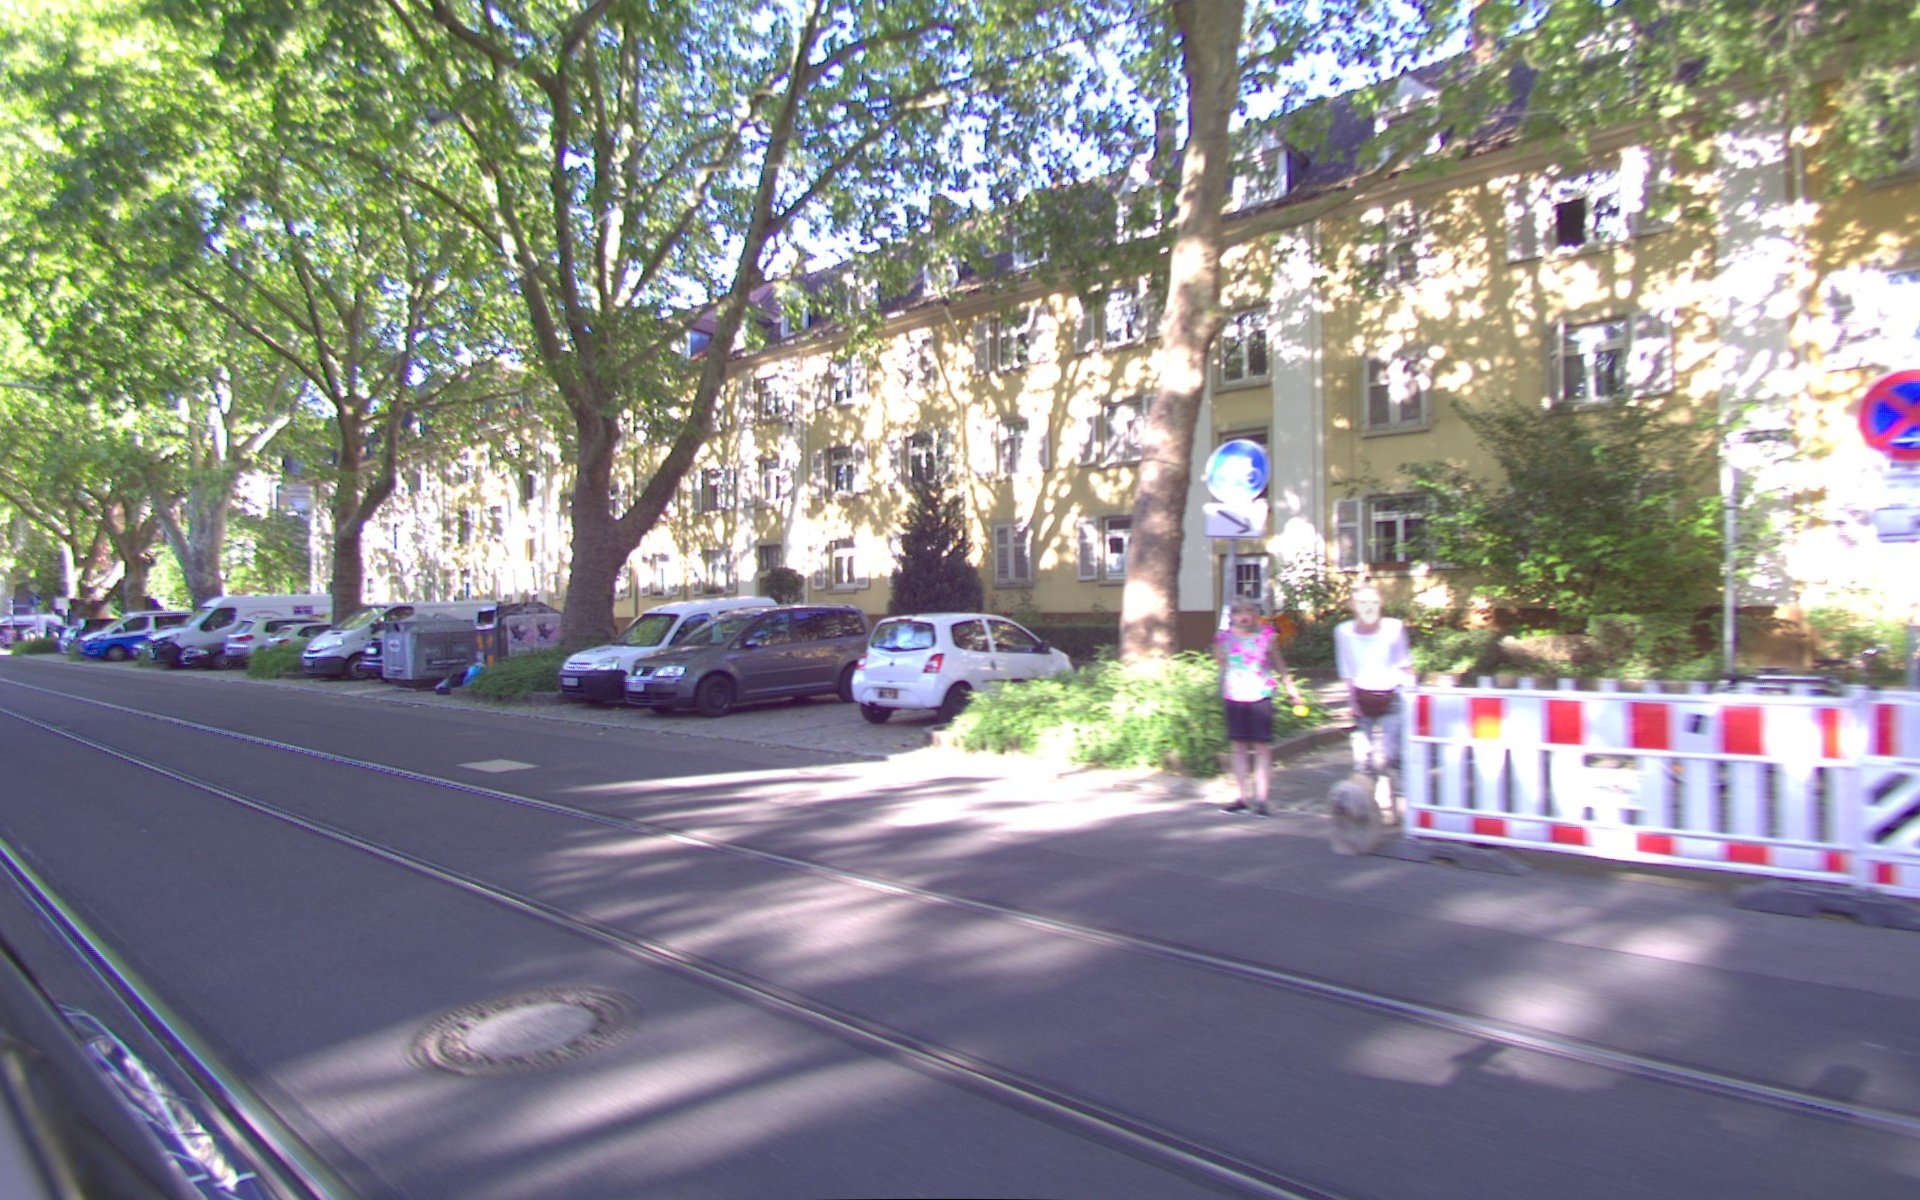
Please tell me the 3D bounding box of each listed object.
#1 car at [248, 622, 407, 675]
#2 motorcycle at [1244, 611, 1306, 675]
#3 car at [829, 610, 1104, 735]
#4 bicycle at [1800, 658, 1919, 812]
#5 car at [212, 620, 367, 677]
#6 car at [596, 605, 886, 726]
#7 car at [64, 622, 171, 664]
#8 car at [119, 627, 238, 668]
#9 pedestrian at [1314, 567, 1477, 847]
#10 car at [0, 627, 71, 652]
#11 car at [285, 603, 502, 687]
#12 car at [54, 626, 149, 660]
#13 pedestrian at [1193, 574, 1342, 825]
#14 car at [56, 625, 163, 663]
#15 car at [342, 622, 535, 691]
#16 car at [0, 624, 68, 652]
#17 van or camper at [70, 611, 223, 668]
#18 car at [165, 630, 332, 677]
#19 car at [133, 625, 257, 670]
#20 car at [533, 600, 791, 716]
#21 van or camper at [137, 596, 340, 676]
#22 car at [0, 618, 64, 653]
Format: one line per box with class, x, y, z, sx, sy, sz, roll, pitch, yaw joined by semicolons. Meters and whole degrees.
car;-19.413;1.451;31.167;1.861;1.509;3.807;-2;-2;41
motorcycle;6.476;0.862;20.772;0.522;1.250;1.691;-2;-1;42
car;0.201;0.911;14.304;1.861;1.509;3.807;-2;-2;41
bicycle;7.076;0.986;7.902;0.725;0.970;1.951;-2;-1;41
car;-21.395;1.510;32.396;1.861;1.675;3.807;-2;-2;41
car;-3.445;0.949;16.338;4.184;1.701;1.935;0;-2;-43
car;-39.619;1.990;47.646;1.703;1.828;3.645;-2;-1;40
car;-31.746;1.897;41.172;1.692;1.471;3.501;-2;0;34
pedestrian;2.993;0.671;6.943;0.796;1.758;0.813;-1;0;41
car;-62.685;2.666;68.070;1.923;1.527;4.119;-3;-1;39
car;-14.831;1.114;26.744;1.959;1.960;4.614;-2;-1;37
car;-44.549;2.210;52.552;3.639;1.565;1.705;-1;-1;-44
pedestrian;2.336;0.696;7.680;0.796;1.758;0.813;-1;0;41
car;-41.346;2.117;49.237;1.796;1.636;3.650;-2;0;35
car;-12.727;1.327;24.856;1.861;1.509;3.807;-2;-2;41
car;-64.675;2.620;69.826;2.026;1.779;4.409;-3;-1;39
van or camper;-34.779;1.633;43.386;2.117;2.206;4.771;-2;-1;39
car;-23.387;1.711;33.388;1.752;1.409;4.220;-2;-2;41
car;-29.937;1.821;39.658;1.612;1.577;3.643;-2;-1;42
car;-5.130;0.922;17.921;1.737;1.771;4.160;-2;-1;37
van or camper;-25.068;1.173;35.343;2.443;2.535;5.335;-2;-1;40
car;-68.911;2.598;73.922;2.026;2.415;4.957;-3;-1;39
